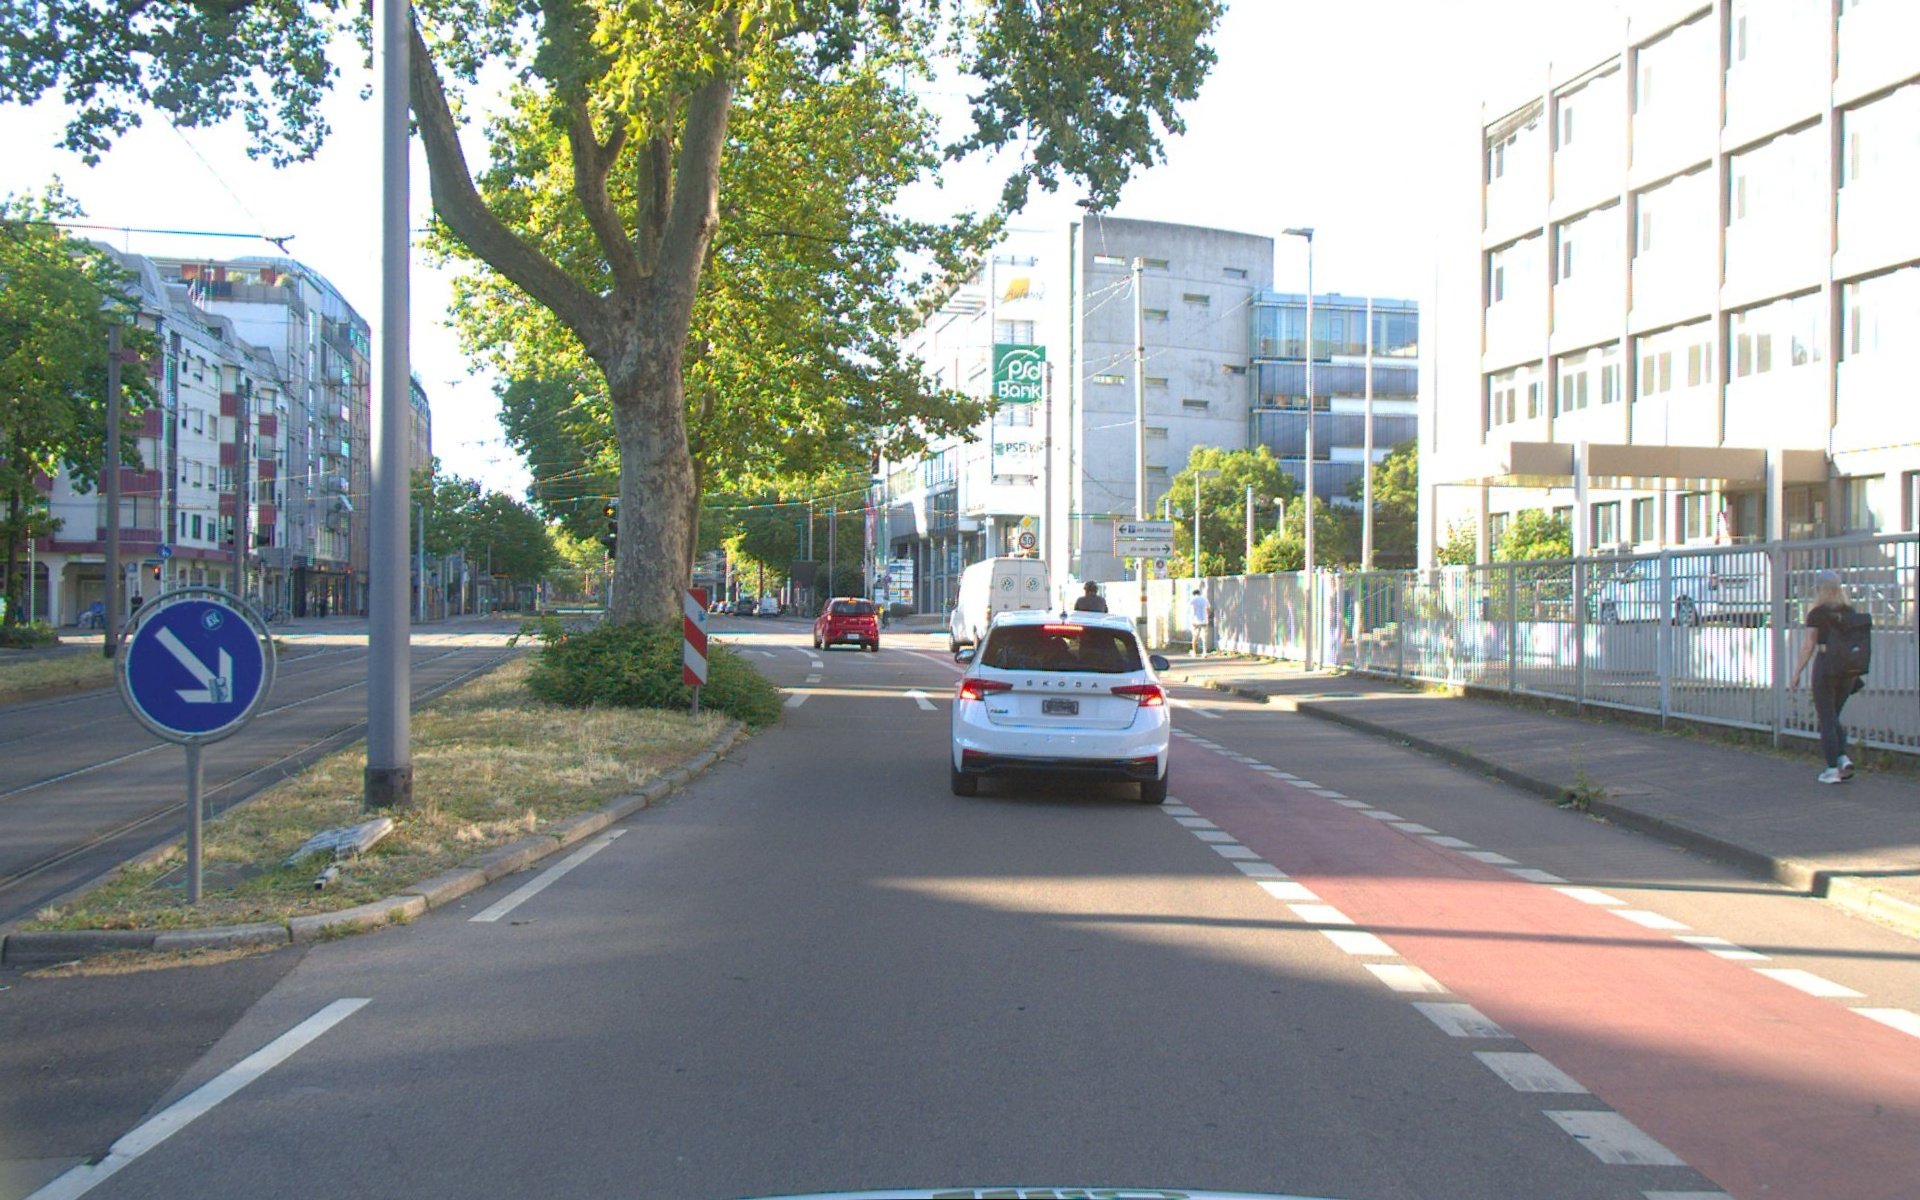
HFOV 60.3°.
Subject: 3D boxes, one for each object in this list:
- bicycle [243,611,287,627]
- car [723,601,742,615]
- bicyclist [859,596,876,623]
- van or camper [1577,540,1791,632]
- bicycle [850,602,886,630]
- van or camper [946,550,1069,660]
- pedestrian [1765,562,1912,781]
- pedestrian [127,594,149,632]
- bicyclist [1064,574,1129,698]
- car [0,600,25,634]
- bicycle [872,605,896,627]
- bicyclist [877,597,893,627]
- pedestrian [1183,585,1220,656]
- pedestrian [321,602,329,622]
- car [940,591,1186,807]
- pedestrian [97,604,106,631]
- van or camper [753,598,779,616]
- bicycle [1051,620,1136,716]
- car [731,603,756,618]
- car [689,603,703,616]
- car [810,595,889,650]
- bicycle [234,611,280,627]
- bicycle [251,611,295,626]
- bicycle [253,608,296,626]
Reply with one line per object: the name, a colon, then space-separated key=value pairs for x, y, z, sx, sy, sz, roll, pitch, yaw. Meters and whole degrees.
bicycle: x=-36.978 y=1.009 z=88.018 sx=2.133 sy=0.801 sz=0.490 roll=0 pitch=0 yaw=-15
car: x=-28.036 y=0.975 z=203.400 sx=1.853 sy=1.555 sz=4.415 roll=-1 pitch=0 yaw=-14
bicyclist: x=-4.818 y=0.505 z=86.297 sx=0.602 sy=1.413 sz=0.626 roll=0 pitch=0 yaw=-45
van or camper: x=16.418 y=-0.311 z=37.843 sx=1.946 sy=1.942 sz=4.984 roll=0 pitch=0 yaw=-12
bicycle: x=-4.784 y=0.821 z=86.327 sx=1.979 sy=1.403 sz=0.637 roll=0 pitch=0 yaw=-45
van or camper: x=1.246 y=0.134 z=46.762 sx=2.227 sy=2.781 sz=6.333 roll=3 pitch=0 yaw=-9
pedestrian: x=7.104 y=0.558 z=13.408 sx=0.682 sy=1.713 sz=0.930 roll=0 pitch=0 yaw=-2
pedestrian: x=-37.647 y=0.587 z=75.758 sx=0.697 sy=1.691 sz=1.029 roll=-1 pitch=0 yaw=-16
bicyclist: x=1.927 y=0.499 z=23.436 sx=0.729 sy=1.698 sz=0.743 roll=2 pitch=0 yaw=-8
car: x=-44.220 y=0.778 z=74.015 sx=3.934 sy=1.489 sz=1.789 roll=-1 pitch=0 yaw=-24
bicycle: x=-4.210 y=0.900 z=91.571 sx=0.779 sy=1.182 sz=2.489 roll=0 pitch=0 yaw=-16
bicyclist: x=-4.145 y=0.645 z=91.367 sx=0.772 sy=1.663 sz=0.636 roll=0 pitch=0 yaw=-15
pedestrian: x=6.134 y=0.521 z=42.045 sx=0.770 sy=1.779 sz=0.771 roll=0 pitch=0 yaw=-5
pedestrian: x=-46.185 y=0.859 z=120.275 sx=0.502 sy=1.484 sz=0.526 roll=0 pitch=0 yaw=-16
car: x=0.903 y=0.727 z=14.025 sx=1.764 sy=1.527 sz=3.983 roll=1 pitch=0 yaw=5
pedestrian: x=-39.863 y=0.813 z=76.772 sx=0.298 sy=1.235 sz=0.317 roll=-1 pitch=0 yaw=-17
van or camper: x=-20.151 y=0.746 z=171.928 sx=2.109 sy=1.781 sz=4.415 roll=-1 pitch=0 yaw=-14
bicycle: x=1.884 y=0.943 z=23.598 sx=0.730 sy=1.245 sz=2.152 roll=2 pitch=0 yaw=-8
car: x=-24.277 y=1.170 z=185.511 sx=2.435 sy=1.555 sz=4.417 roll=-1 pitch=0 yaw=-13
car: x=-33.307 y=1.172 z=208.758 sx=1.628 sy=1.635 sz=3.520 roll=-1 pitch=0 yaw=-12
car: x=-3.221 y=0.611 z=47.636 sx=1.806 sy=1.515 sz=3.706 roll=0 pitch=0 yaw=-11
bicycle: x=-37.074 y=1.012 z=87.221 sx=2.133 sy=0.801 sz=0.638 roll=0 pitch=0 yaw=-15
bicycle: x=-37.109 y=0.999 z=89.373 sx=2.133 sy=0.838 sz=0.526 roll=0 pitch=0 yaw=-15
bicycle: x=-37.262 y=0.939 z=89.931 sx=2.133 sy=0.967 sz=0.490 roll=0 pitch=0 yaw=-15
